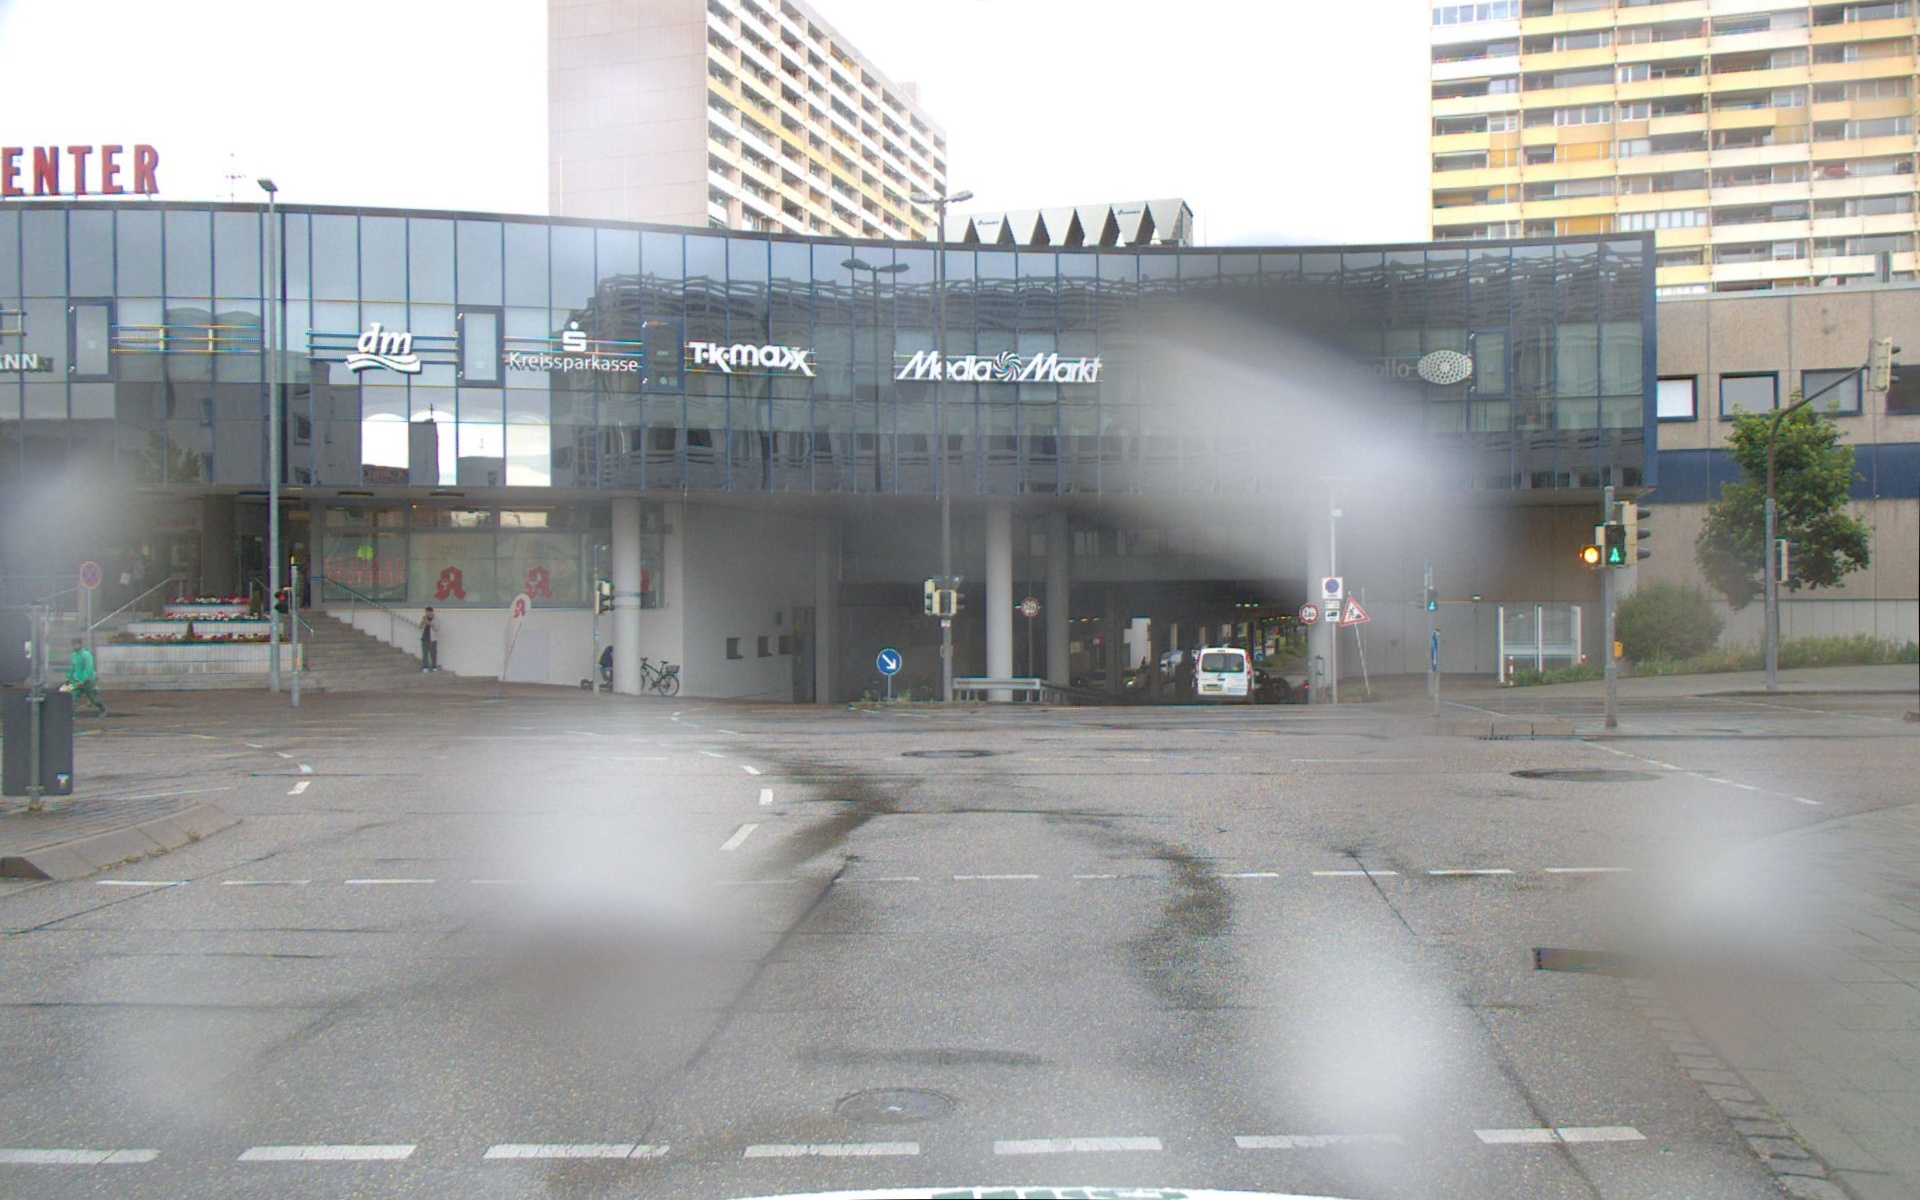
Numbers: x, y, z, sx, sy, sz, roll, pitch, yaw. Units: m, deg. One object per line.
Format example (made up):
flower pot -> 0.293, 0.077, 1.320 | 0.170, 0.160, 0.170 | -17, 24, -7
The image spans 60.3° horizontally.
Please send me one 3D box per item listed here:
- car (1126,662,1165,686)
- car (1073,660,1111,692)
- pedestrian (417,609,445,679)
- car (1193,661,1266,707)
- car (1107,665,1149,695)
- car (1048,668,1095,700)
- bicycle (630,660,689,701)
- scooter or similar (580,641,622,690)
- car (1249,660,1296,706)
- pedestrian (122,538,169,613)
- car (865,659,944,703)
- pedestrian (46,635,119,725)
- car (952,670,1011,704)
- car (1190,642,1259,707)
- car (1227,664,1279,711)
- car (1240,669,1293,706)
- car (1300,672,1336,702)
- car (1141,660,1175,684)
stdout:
car -> 12.305, 4.891, 109.616 | 1.951, 1.489, 4.003 | -1, -1, 15
car -> 7.682, 4.412, 96.129 | 1.797, 1.758, 4.003 | -1, -1, 11
pedestrian -> -14.916, 1.239, 46.668 | 0.643, 1.942, 0.593 | 1, -1, -9
car -> 9.219, 2.900, 56.405 | 1.721, 1.490, 3.943 | -2, -4, 20
car -> 10.348, 4.916, 101.950 | 1.951, 1.693, 4.003 | 1, -1, 15
car -> 6.187, 4.619, 91.303 | 1.874, 1.616, 3.941 | -1, -1, 15
bicycle -> -8.797, 2.363, 48.469 | 1.566, 1.036, 0.447 | 7, -4, -32
scooter or similar -> -10.432, 1.901, 48.011 | 1.147, 1.397, 0.487 | 1, -1, -16
car -> 13.431, 3.544, 70.929 | 1.753, 1.802, 4.003 | -1, -1, 14
pedestrian -> -22.747, -0.676, 46.198 | 0.813, 2.049, 0.952 | 1, -1, -1
car -> -2.062, 3.093, 62.389 | 1.852, 1.496, 4.029 | -1, -5, 16
pedestrian -> -16.617, 1.510, 31.340 | 0.929, 1.652, 0.809 | -1, -1, 22
car -> 0.996, 3.921, 74.374 | 1.733, 1.490, 3.878 | -1, -3, 15
car -> 7.822, 2.179, 48.709 | 1.884, 1.829, 4.299 | -1, -2, 10
car -> 10.851, 3.219, 61.048 | 1.598, 1.640, 4.265 | -2, -3, 13
car -> 12.291, 3.522, 66.167 | 1.741, 1.425, 4.002 | -1, -4, 15
car -> 19.739, 4.778, 91.119 | 1.847, 1.517, 3.844 | 1, -1, 13
car -> 13.754, 4.983, 114.719 | 1.951, 1.489, 4.003 | -1, -1, 12
